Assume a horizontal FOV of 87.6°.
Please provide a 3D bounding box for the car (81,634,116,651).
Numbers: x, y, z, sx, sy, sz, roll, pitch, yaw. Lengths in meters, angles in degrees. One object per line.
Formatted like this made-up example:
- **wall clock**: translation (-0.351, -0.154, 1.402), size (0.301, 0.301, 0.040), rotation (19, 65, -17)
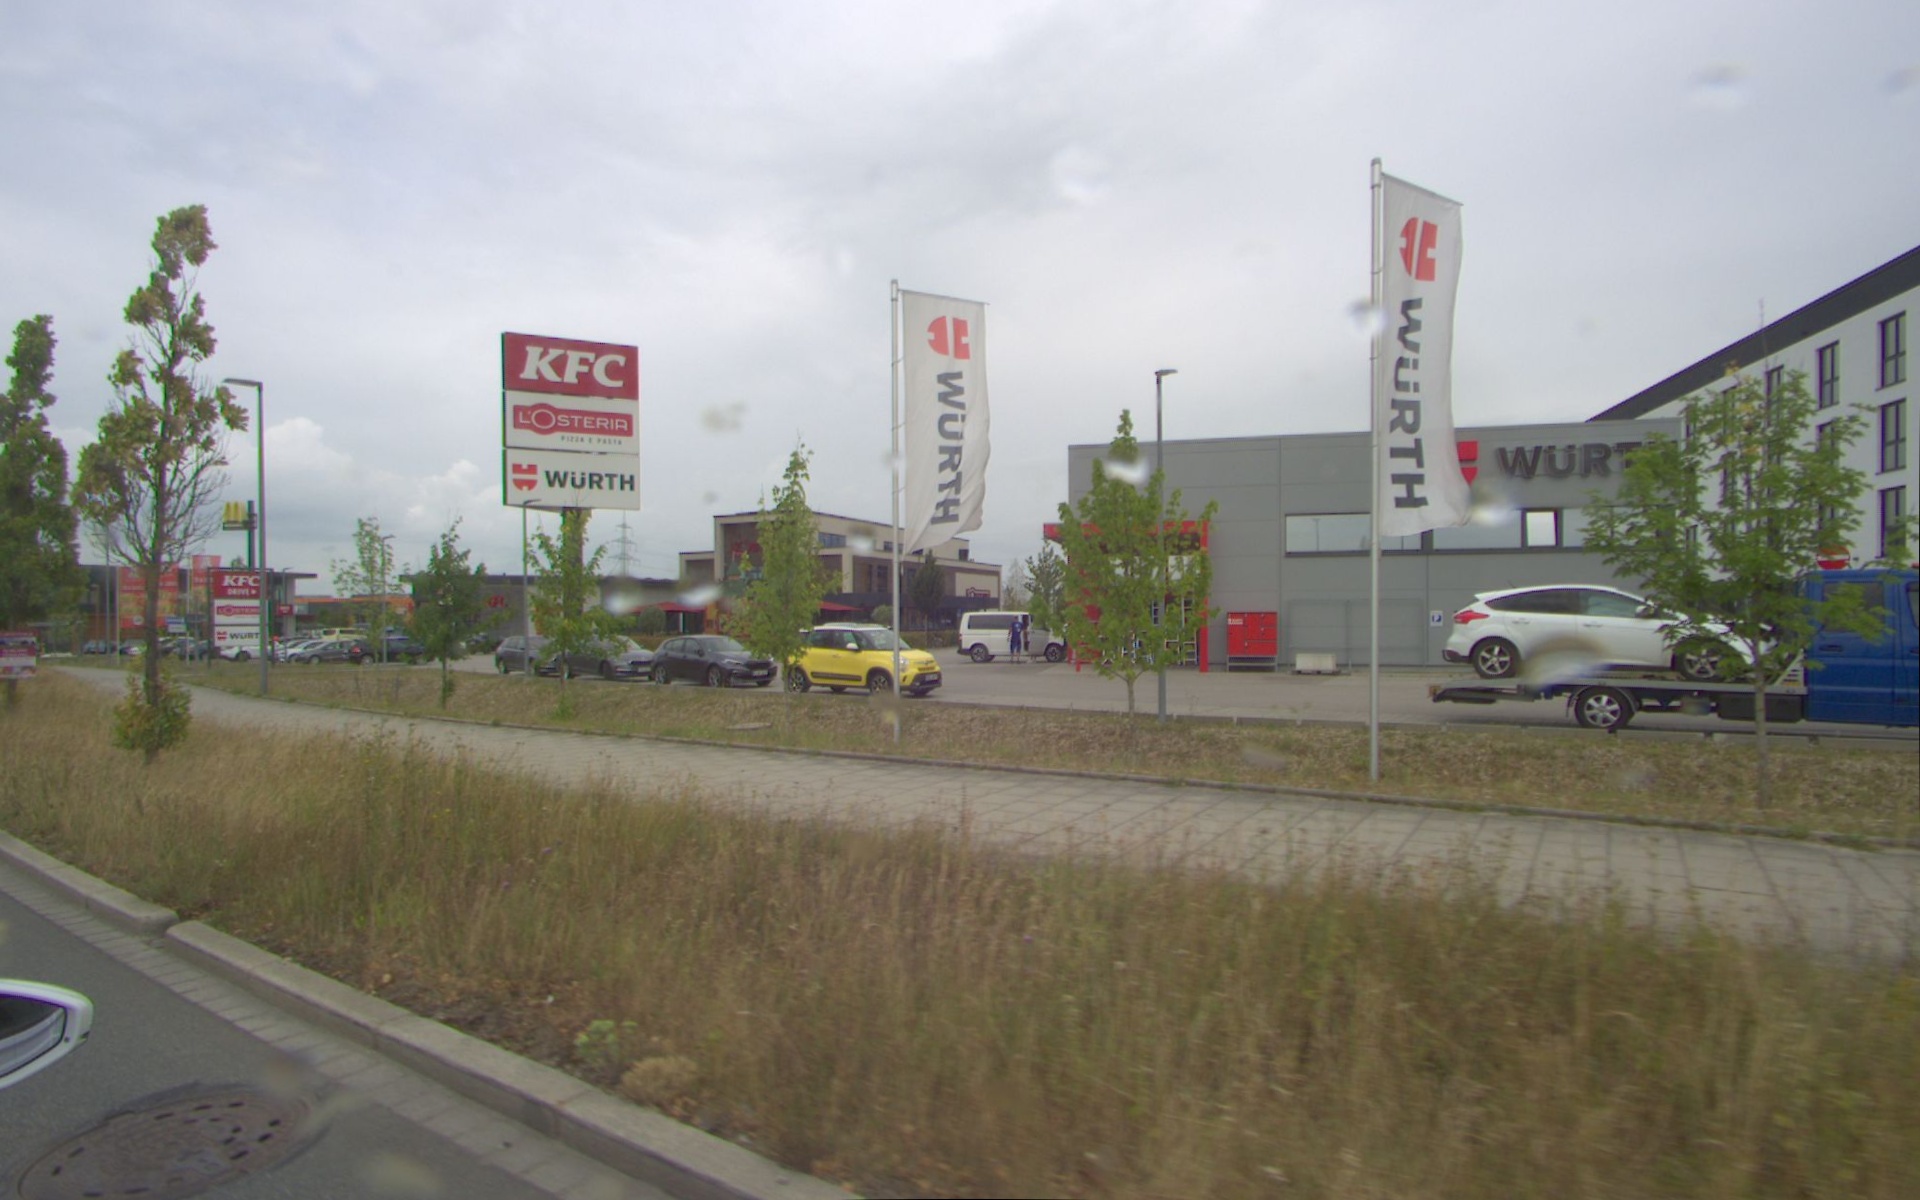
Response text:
- **car**: translation (-89.362, 4.427, 103.856), size (1.971, 1.738, 3.981), rotation (1, -2, -29)

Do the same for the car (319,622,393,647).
- **car**: translation (-58.319, 3.300, 96.787), size (2.497, 2.381, 5.669), rotation (-1, -1, 28)

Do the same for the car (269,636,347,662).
- **car**: translation (-42.424, 3.173, 65.202), size (1.880, 1.501, 3.843), rotation (-2, 0, 40)

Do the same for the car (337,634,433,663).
- **car**: translation (-31.793, 2.648, 55.428), size (1.946, 1.539, 4.237), rotation (-2, -2, 44)

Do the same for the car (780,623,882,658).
- **car**: translation (-6.499, 2.026, 50.567), size (4.706, 1.719, 1.998), rotation (-1, -1, 17)

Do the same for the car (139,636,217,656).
- **car**: translation (-62.215, 3.618, 79.707), size (2.041, 1.455, 4.466), rotation (-1, -1, 27)

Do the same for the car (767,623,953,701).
- **car**: translation (-2.453, 1.426, 24.134), size (4.351, 1.708, 1.758), rotation (-1, -1, 34)

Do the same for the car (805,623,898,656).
- **car**: translation (-5.738, 2.066, 53.163), size (4.454, 1.699, 2.132), rotation (-1, -1, 13)

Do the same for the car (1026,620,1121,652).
- **car**: translation (5.831, 1.827, 51.300), size (4.494, 1.539, 2.078), rotation (-1, 0, 17)

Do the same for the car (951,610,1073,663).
- **car**: translation (2.100, 1.435, 39.783), size (4.550, 2.013, 1.999), rotation (-1, -1, 14)

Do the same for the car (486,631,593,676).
- **car**: translation (-15.507, 1.914, 36.826), size (4.782, 1.479, 1.950), rotation (-1, -1, 45)

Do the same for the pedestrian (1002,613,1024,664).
- **pedestrian**: translation (1.988, 1.454, 37.713), size (0.786, 1.893, 0.615), rotation (0, -1, 5)

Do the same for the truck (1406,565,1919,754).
- **truck**: translation (11.065, 0.786, 14.528), size (8.112, 2.356, 2.218), rotation (-1, -1, 38)

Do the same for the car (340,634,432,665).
- **car**: translation (-30.443, 2.585, 53.152), size (3.960, 1.513, 1.963), rotation (1, -2, -43)

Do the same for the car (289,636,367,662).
- **car**: translation (-39.018, 3.004, 61.871), size (1.869, 1.513, 3.739), rotation (-2, -2, 42)

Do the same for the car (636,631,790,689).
- **car**: translation (-7.089, 1.687, 28.523), size (4.556, 1.515, 1.984), rotation (-3, -2, 41)

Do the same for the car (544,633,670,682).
- **car**: translation (-11.618, 1.813, 32.801), size (4.826, 1.455, 1.854), rotation (-1, -1, 42)

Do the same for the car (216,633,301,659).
- **car**: translation (-49.996, 3.236, 71.414), size (2.061, 1.666, 4.547), rotation (-1, 0, 35)

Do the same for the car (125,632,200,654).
- **car**: translation (-64.393, 3.479, 80.905), size (1.906, 1.661, 4.348), rotation (-1, -1, 25)

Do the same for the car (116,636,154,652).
- **car**: translation (-72.712, 3.892, 88.321), size (1.789, 1.330, 3.833), rotation (0, -1, -27)

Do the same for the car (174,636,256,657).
- **car**: translation (-55.865, 3.479, 75.143), size (2.002, 1.488, 4.511), rotation (-1, -1, 30)
